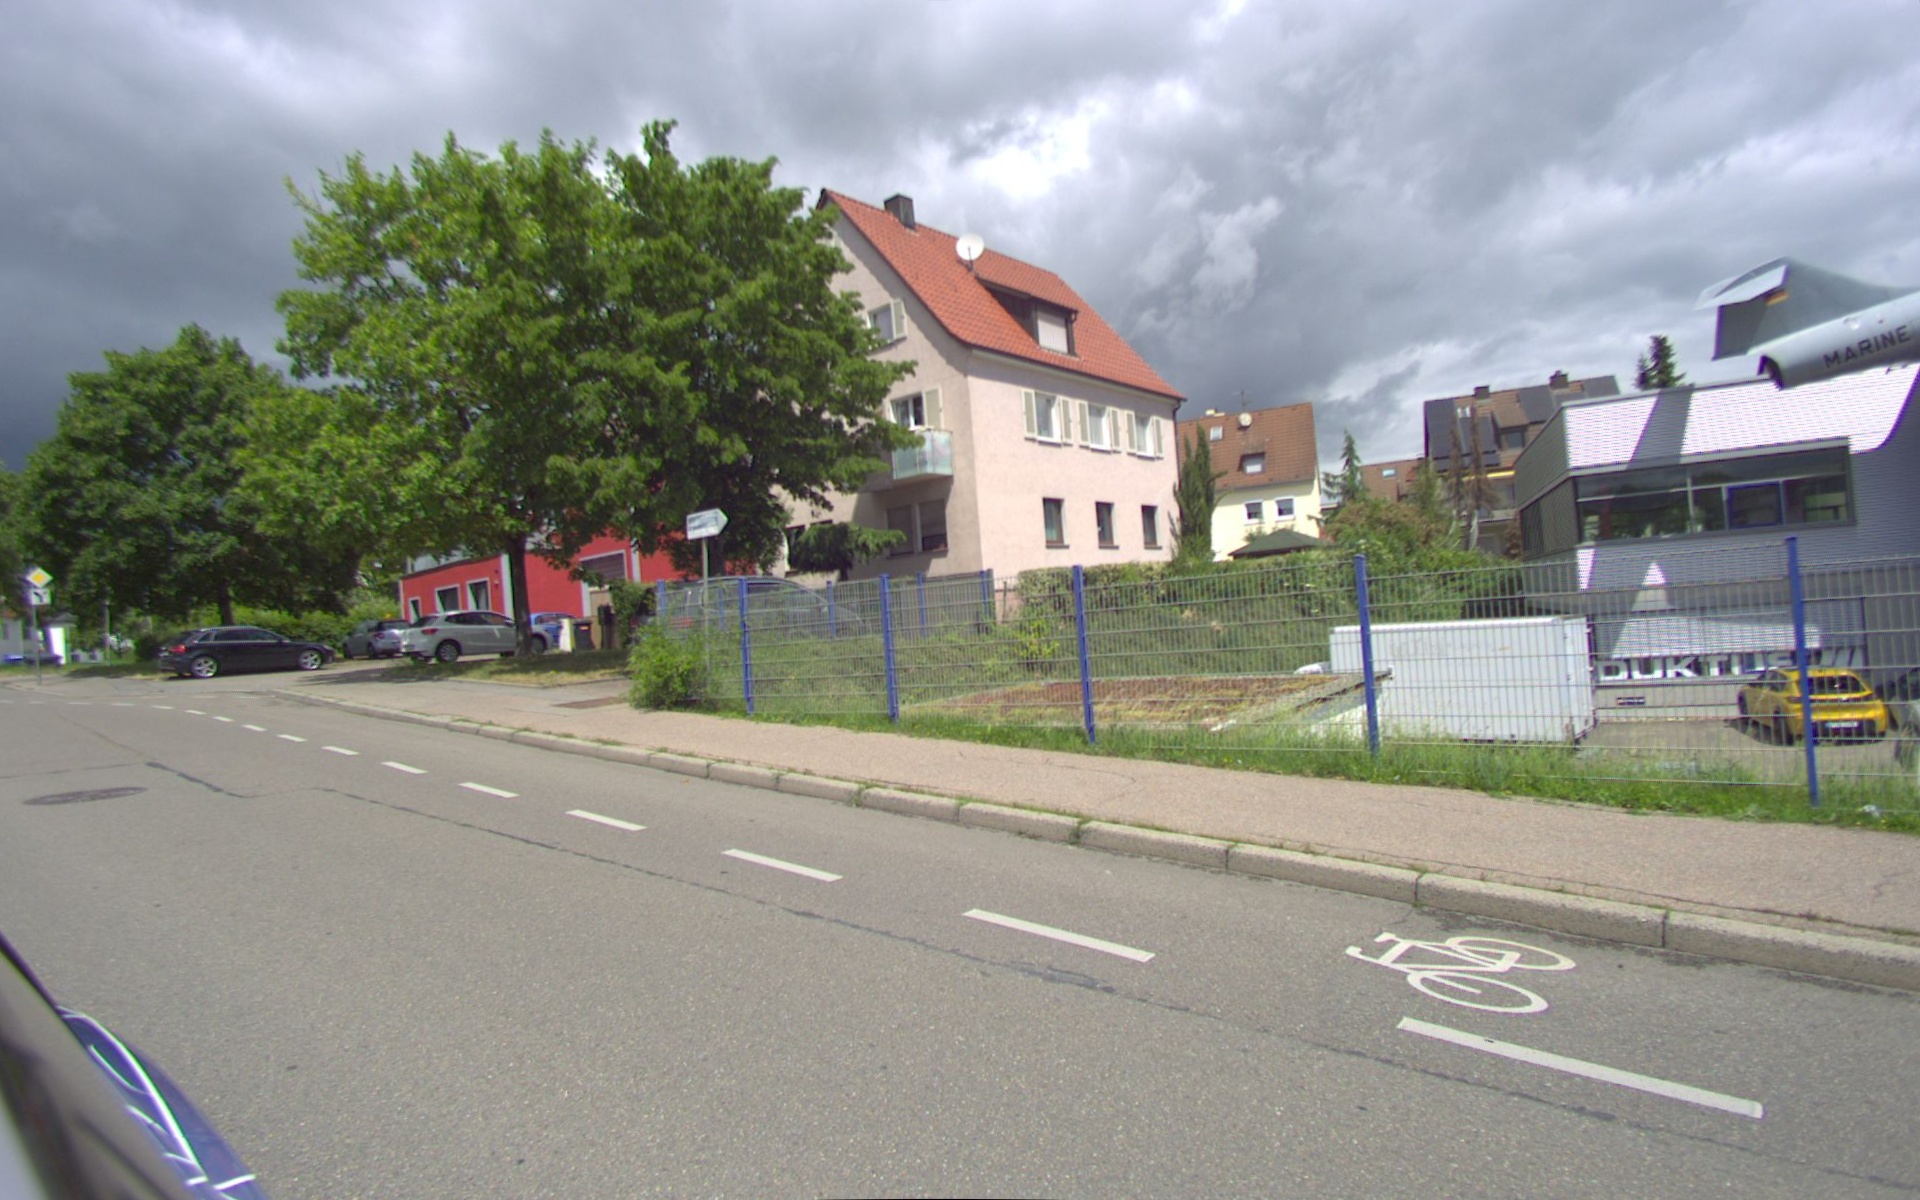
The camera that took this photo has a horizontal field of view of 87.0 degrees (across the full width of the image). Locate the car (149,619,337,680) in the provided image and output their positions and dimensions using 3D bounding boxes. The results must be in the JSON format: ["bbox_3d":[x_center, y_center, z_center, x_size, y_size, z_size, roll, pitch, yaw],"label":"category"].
[{"bbox_3d":[-20.963,1.406,29.692,1.998,1.404,4.089,-3,1,40],"label":"car"}]

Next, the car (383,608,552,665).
[{"bbox_3d":[-13.943,1.010,28.826,1.873,1.414,3.884,-3,-1,36],"label":"car"}]

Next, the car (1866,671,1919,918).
[{"bbox_3d":[10.192,1.806,9.588,1.997,2.029,3.950,-2,-1,37],"label":"car"}]

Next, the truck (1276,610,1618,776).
[{"bbox_3d":[9.889,1.758,20.926,5.880,2.895,2.431,-2,0,42],"label":"truck"}]

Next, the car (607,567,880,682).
[{"bbox_3d":[-3.821,0.339,18.629,1.998,1.729,4.653,-1,2,39],"label":"car"}]

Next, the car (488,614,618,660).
[{"bbox_3d":[-14.151,1.279,35.301,1.842,1.388,3.763,-4,-2,40],"label":"car"}]

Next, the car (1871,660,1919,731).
[{"bbox_3d":[20.489,1.945,20.491,1.867,1.308,3.965,-5,-3,25],"label":"car"}]

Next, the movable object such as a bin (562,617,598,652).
[{"bbox_3d":[-12.311,1.121,32.796,0.881,1.069,0.747,-3,0,44],"label":"movable object such as a bin"}]

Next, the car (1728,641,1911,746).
[{"bbox_3d":[18.268,1.932,21.744,1.868,1.541,3.967,-7,1,26],"label":"car"}]

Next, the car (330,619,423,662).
[{"bbox_3d":[-21.805,1.527,37.762,4.074,1.436,1.624,-3,0,40],"label":"car"}]
